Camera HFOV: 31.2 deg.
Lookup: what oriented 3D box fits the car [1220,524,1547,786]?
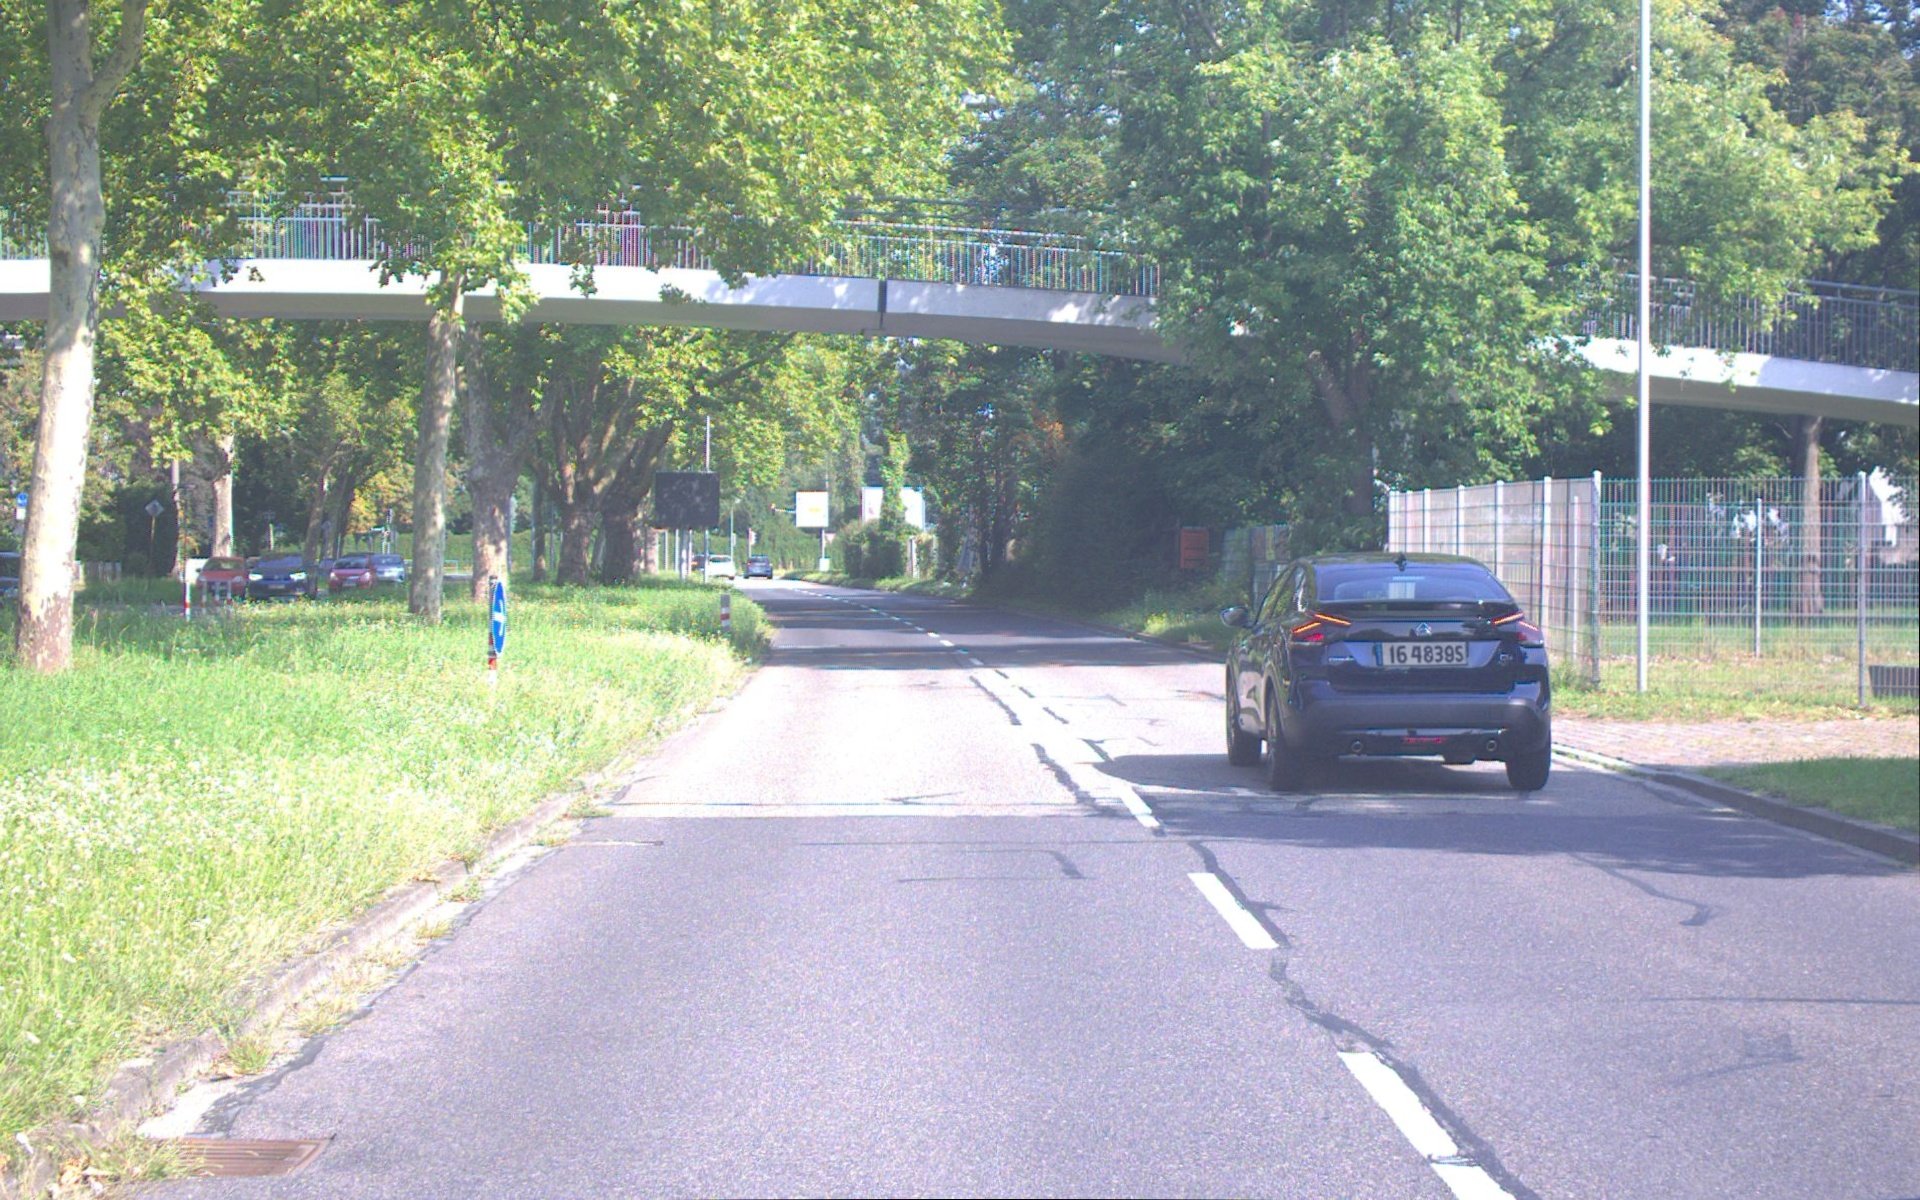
[{"bbox_3d":[2.751,0.319,23.181,1.645,1.583,4.255,1,0,0],"label":"car"}]

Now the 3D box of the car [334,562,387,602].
[{"bbox_3d":[-23.317,-0.722,133.783,1.690,1.527,4.070,0,1,-5],"label":"car"}]

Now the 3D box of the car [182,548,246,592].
[{"bbox_3d":[-25.316,-1.014,116.762,1.538,1.446,4.065,1,0,-4],"label":"car"}]

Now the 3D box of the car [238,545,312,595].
[{"bbox_3d":[-21.925,-0.955,110.134,1.787,1.527,4.456,1,0,-5],"label":"car"}]

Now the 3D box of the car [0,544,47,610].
[{"bbox_3d":[-22.650,-0.555,80.372,1.522,1.527,3.864,0,1,1],"label":"car"}]

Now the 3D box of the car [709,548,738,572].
[{"bbox_3d":[-14.439,-2.448,209.720,1.687,1.457,4.001,1,0,-5],"label":"car"}]

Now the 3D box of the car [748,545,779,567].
[{"bbox_3d":[-12.713,-2.857,222.467,1.797,1.396,4.001,1,0,-6],"label":"car"}]
